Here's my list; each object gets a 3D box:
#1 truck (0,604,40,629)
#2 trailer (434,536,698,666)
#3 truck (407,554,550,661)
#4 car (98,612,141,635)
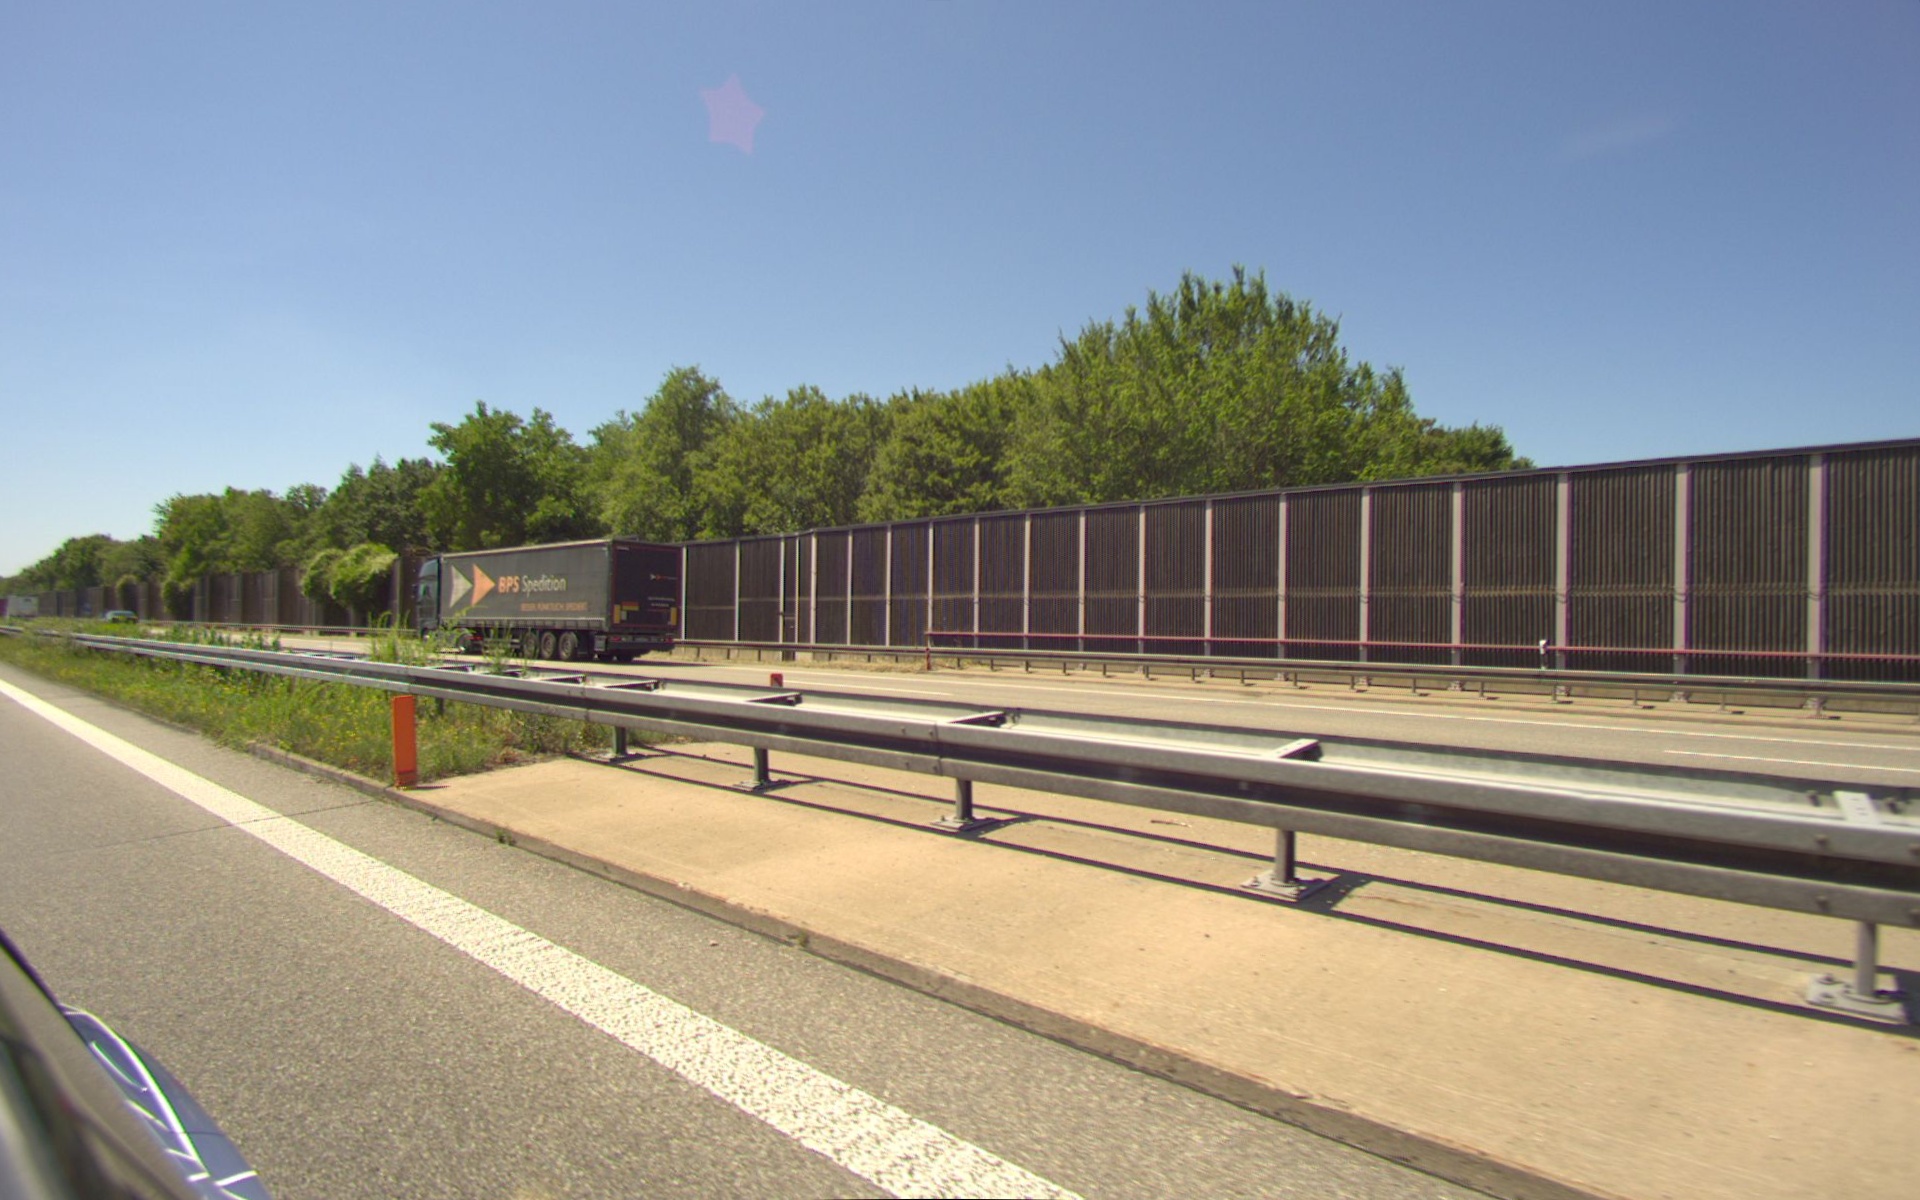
[{"bbox_3d":[-148.605,2.512,159.936,10.963,3.711,3.511,0,0,41],"label":"truck"},{"bbox_3d":[-14.942,0.133,37.190,13.873,4.039,3.083,0,-3,42],"label":"trailer"},{"bbox_3d":[-19.904,0.364,41.720,6.189,4.039,3.060,0,-3,42],"label":"truck"},{"bbox_3d":[-61.034,1.679,73.488,4.001,1.586,1.974,-1,0,44],"label":"car"}]
